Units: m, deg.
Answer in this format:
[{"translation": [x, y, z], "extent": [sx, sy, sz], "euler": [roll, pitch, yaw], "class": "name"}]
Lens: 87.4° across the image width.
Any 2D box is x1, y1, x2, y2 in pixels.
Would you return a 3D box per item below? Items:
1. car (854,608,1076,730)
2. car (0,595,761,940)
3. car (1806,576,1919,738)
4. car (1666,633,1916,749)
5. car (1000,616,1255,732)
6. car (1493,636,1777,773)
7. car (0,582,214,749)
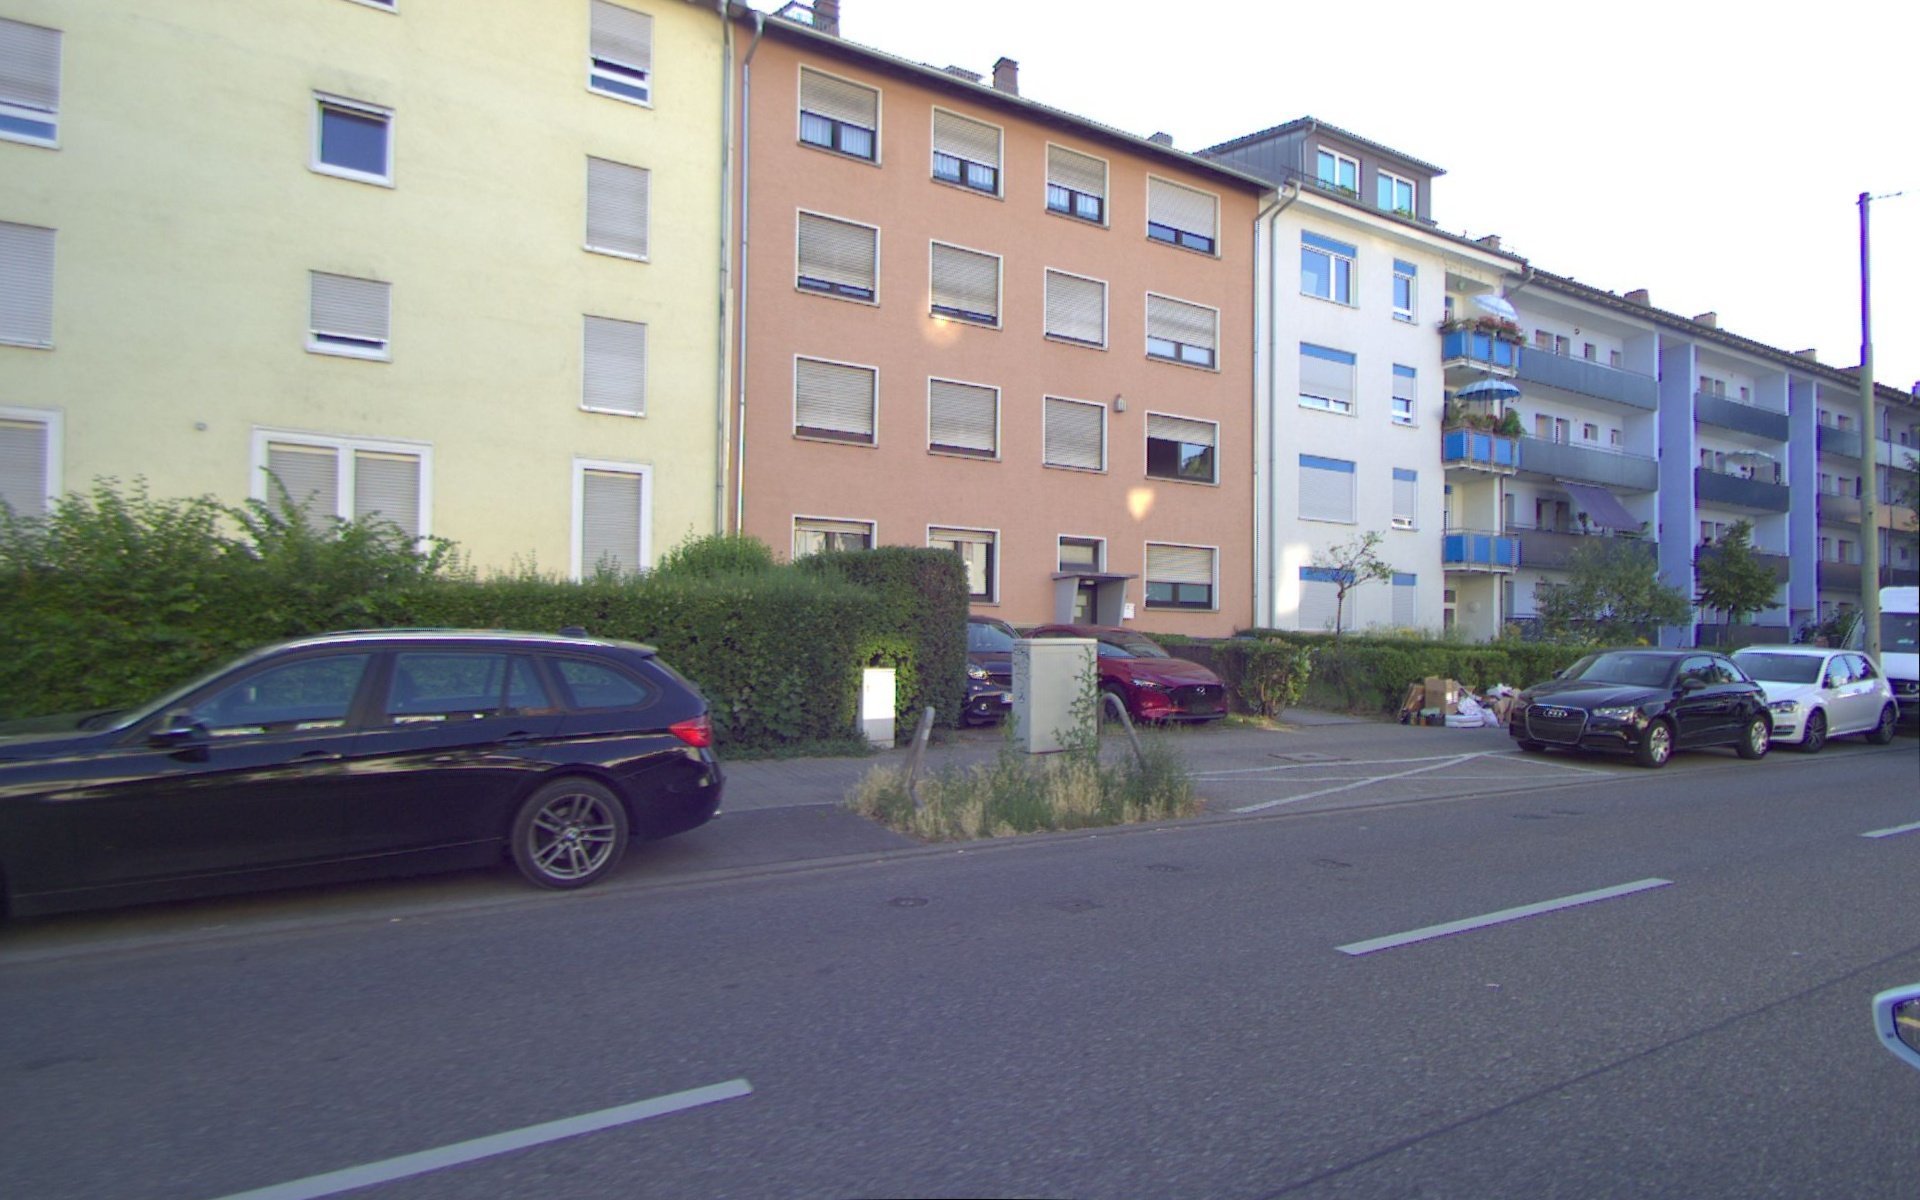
[{"translation": [-0.067, 0.935, 15.243], "extent": [1.610, 1.549, 3.969], "euler": [2, -1, -29], "class": "car"}, {"translation": [-3.625, 0.786, 5.803], "extent": [4.532, 1.524, 1.771], "euler": [2, -1, -29], "class": "car"}, {"translation": [18.525, 1.031, 18.753], "extent": [7.023, 2.651, 1.984], "euler": [2, 0, -31], "class": "car"}, {"translation": [13.062, 1.348, 15.751], "extent": [4.011, 1.512, 1.698], "euler": [2, 1, -30], "class": "car"}, {"translation": [2.481, 1.060, 15.841], "extent": [1.893, 1.432, 3.969], "euler": [2, 0, -29], "class": "car"}, {"translation": [8.887, 1.274, 13.165], "extent": [3.768, 1.492, 1.604], "euler": [2, 0, -31], "class": "car"}, {"translation": [-10.655, 0.661, 10.816], "extent": [3.954, 1.705, 1.818], "euler": [2, -2, -31], "class": "car"}]
